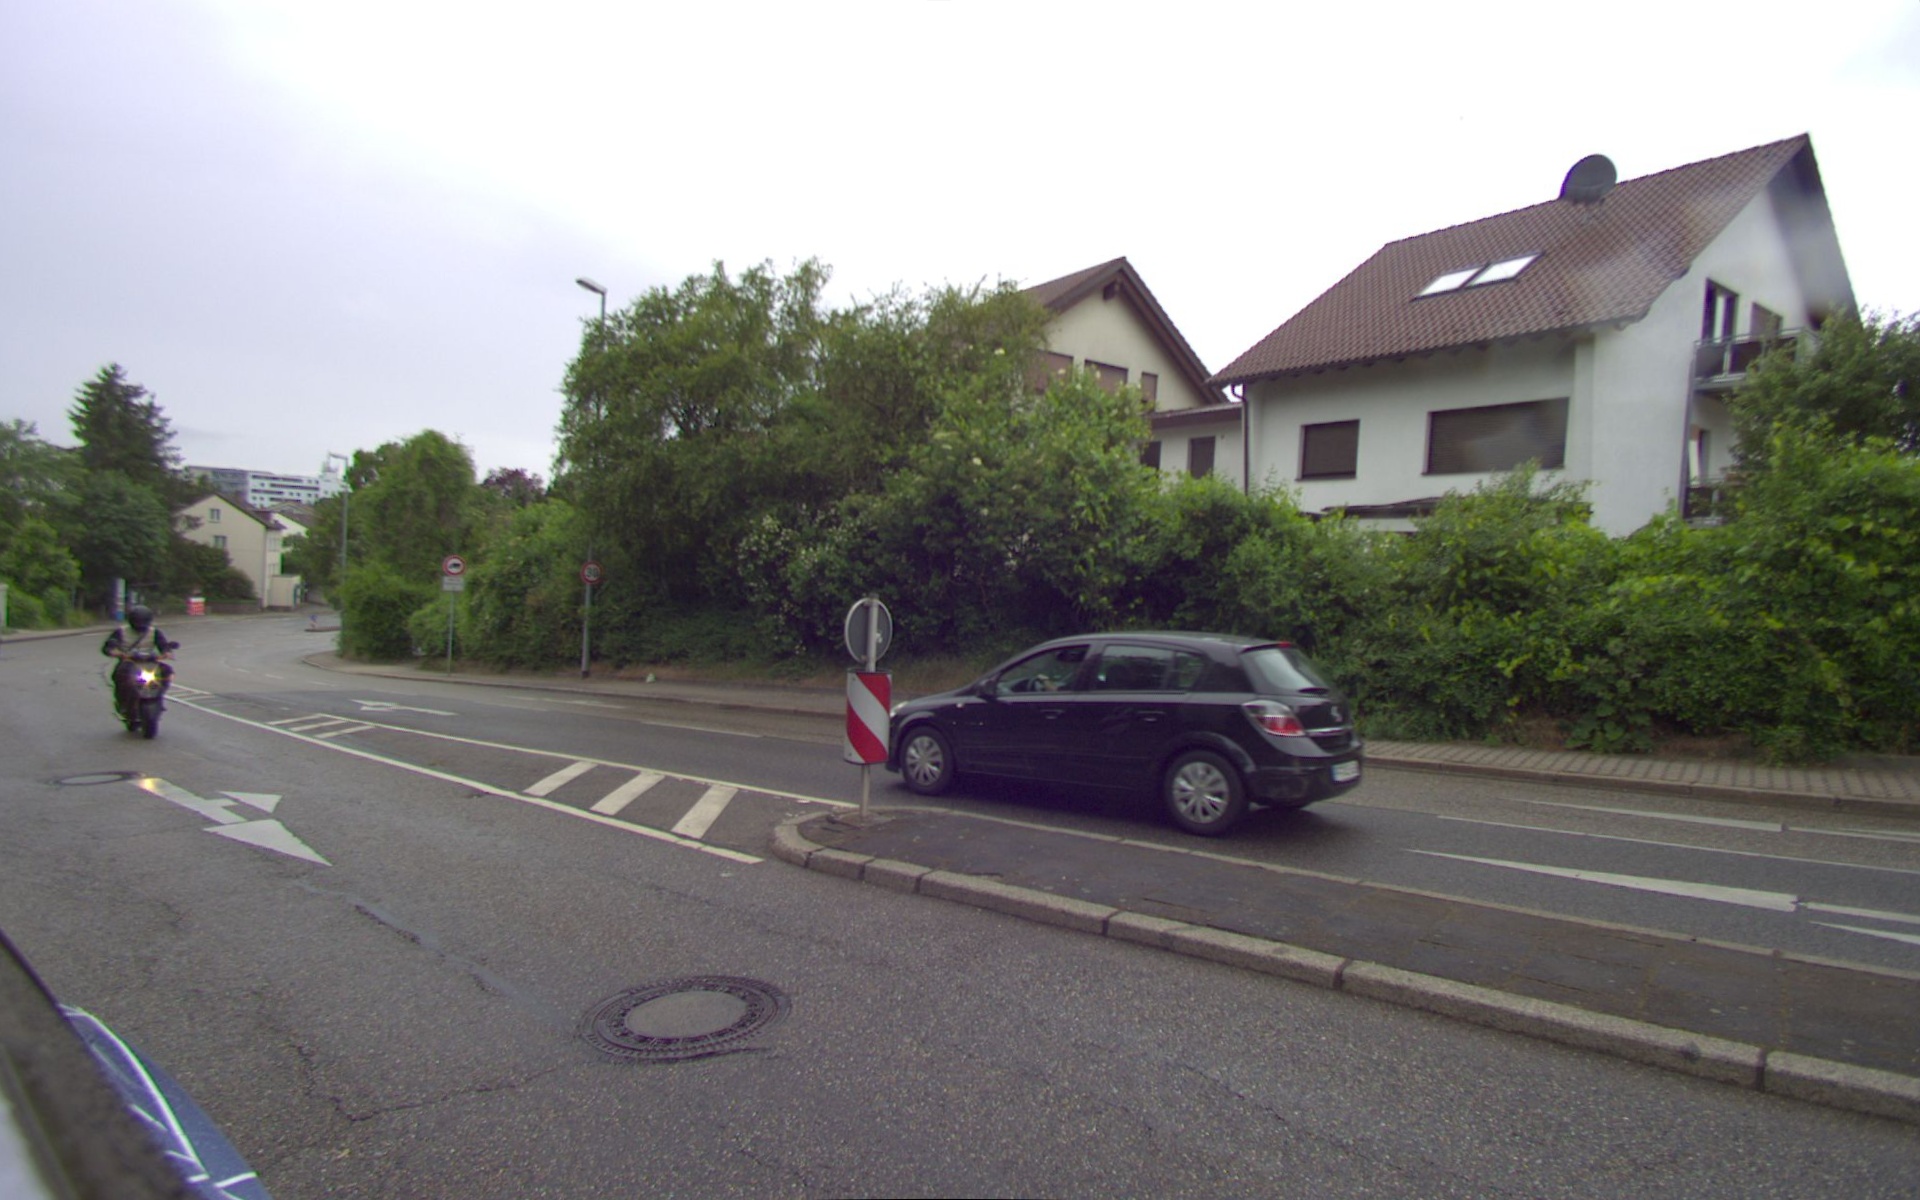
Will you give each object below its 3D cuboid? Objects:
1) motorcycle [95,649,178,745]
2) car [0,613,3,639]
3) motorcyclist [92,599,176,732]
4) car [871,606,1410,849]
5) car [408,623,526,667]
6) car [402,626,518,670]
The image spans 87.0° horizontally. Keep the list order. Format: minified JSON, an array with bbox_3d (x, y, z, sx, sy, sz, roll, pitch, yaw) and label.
[{"bbox_3d":[-10.519,1.195,12.911,0.682,1.061,1.749,3,-1,-43],"label":"motorcycle"},{"bbox_3d":[-35.520,1.273,35.944,1.750,1.788,4.007,6,-4,-39],"label":"car"},{"bbox_3d":[-10.660,0.826,13.067,0.756,1.655,0.675,3,-2,-43],"label":"motorcyclist"},{"bbox_3d":[1.349,0.860,8.367,3.996,1.521,1.876,-1,-3,40],"label":"car"},{"bbox_3d":[-19.510,1.752,40.117,3.853,1.451,1.814,-3,1,-41],"label":"car"},{"bbox_3d":[-20.991,1.958,42.560,3.939,1.548,2.003,-3,1,-42],"label":"car"}]
